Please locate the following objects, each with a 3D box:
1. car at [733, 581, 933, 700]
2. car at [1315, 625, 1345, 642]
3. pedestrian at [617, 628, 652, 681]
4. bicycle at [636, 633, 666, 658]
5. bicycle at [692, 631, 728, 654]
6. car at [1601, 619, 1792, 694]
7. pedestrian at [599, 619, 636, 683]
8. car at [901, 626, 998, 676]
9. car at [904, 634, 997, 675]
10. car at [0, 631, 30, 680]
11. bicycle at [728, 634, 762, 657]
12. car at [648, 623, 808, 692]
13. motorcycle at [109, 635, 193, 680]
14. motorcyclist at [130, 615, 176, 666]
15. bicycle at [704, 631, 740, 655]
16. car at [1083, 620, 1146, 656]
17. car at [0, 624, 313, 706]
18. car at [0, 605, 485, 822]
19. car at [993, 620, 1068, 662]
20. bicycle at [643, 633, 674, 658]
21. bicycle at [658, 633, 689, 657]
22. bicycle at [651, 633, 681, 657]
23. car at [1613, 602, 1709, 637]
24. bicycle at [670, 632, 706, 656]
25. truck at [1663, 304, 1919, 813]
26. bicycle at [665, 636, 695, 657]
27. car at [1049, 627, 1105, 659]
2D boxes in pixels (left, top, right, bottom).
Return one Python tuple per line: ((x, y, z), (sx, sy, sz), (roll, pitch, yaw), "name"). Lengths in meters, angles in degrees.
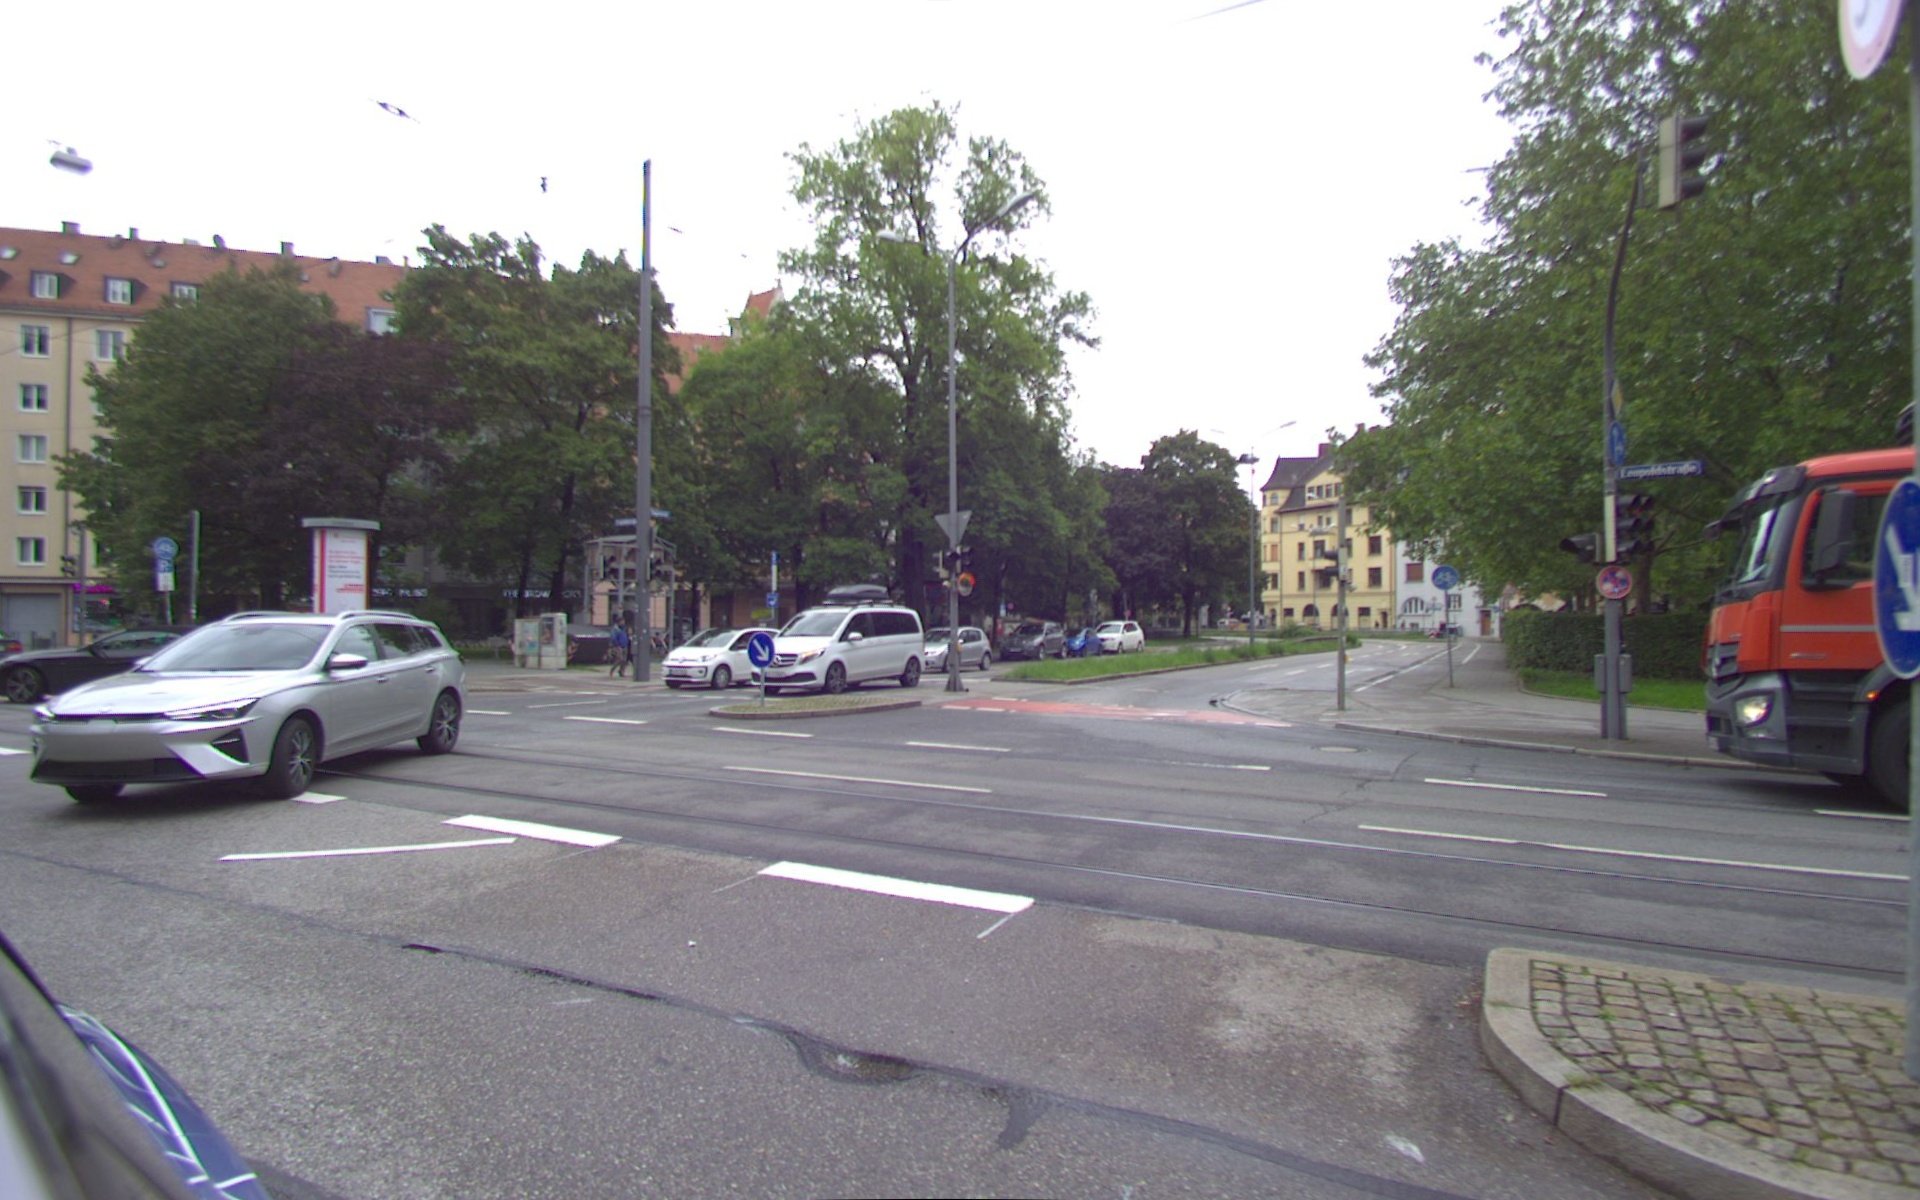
((-2.674, 0.869, 22.676), (1.906, 2.369, 4.894), (-1, -2, 30), "car")
((36.618, 3.333, 100.050), (2.101, 1.650, 4.891), (0, -2, 29), "car")
((-8.939, 1.480, 27.818), (0.718, 1.415, 0.540), (1, 0, 29), "pedestrian")
((-11.640, 1.720, 38.109), (1.410, 0.900, 0.309), (-3, -2, 37), "bicycle")
((-10.062, 1.700, 40.726), (1.394, 0.901, 0.313), (0, -2, 4), "bicycle")
((18.939, 1.449, 26.177), (3.480, 1.777, 1.774), (-2, -2, 6), "car")
((-9.240, 1.360, 27.283), (0.718, 1.673, 0.540), (3, 1, 29), "pedestrian")
((-0.281, 1.686, 34.112), (1.765, 1.536, 4.175), (-2, -2, 23), "car")
((-0.305, 2.106, 40.184), (1.765, 1.472, 4.598), (-1, -2, 27), "car")
((-28.057, 1.528, 28.254), (3.978, 1.326, 1.716), (0, -2, 26), "car")
((-9.009, 1.904, 42.412), (1.390, 0.900, 0.314), (-2, -2, -7), "bicycle")
((-5.593, 1.351, 24.914), (1.764, 1.536, 4.177), (-2, -2, 22), "car")
((-23.236, 1.646, 29.072), (2.004, 1.178, 0.630), (1, 2, 6), "motorcycle")
((-23.204, 1.151, 29.100), (0.871, 1.454, 0.619), (-1, 0, 7), "motorcyclist")
((-9.733, 1.751, 41.364), (1.390, 0.900, 0.314), (-2, -2, -7), "bicycle")
((8.611, 2.087, 56.186), (1.842, 1.870, 4.973), (-1, -2, 29), "car")
((-14.797, 1.138, 18.469), (4.717, 1.400, 1.734), (0, -2, -16), "car")
((-6.314, 0.883, 9.388), (1.752, 1.536, 4.206), (-1, -2, 2), "car")
((3.289, 1.849, 46.285), (1.927, 1.833, 4.515), (-1, -2, 25), "car")
((-11.441, 1.722, 38.386), (1.410, 0.900, 0.309), (-3, -2, 37), "bicycle")
((-11.036, 1.751, 38.966), (1.410, 0.900, 0.309), (-3, -2, 37), "bicycle")
((-11.247, 1.724, 38.669), (1.410, 0.900, 0.309), (-3, -2, 37), "bicycle")
((54.617, 1.500, 79.030), (6.060, 2.609, 2.087), (0, -2, 32), "car")
((-10.570, 1.721, 39.316), (1.400, 0.900, 0.311), (-2, -2, 16), "bicycle")
((12.139, -0.316, 6.964), (11.663, 4.011, 2.721), (0, -3, 29), "truck")
((-12.355, 2.040, 44.703), (0.312, 0.900, 1.396), (-3, -2, 35), "bicycle")
((5.927, 2.132, 50.935), (1.518, 1.561, 3.625), (-1, -2, 29), "car")
